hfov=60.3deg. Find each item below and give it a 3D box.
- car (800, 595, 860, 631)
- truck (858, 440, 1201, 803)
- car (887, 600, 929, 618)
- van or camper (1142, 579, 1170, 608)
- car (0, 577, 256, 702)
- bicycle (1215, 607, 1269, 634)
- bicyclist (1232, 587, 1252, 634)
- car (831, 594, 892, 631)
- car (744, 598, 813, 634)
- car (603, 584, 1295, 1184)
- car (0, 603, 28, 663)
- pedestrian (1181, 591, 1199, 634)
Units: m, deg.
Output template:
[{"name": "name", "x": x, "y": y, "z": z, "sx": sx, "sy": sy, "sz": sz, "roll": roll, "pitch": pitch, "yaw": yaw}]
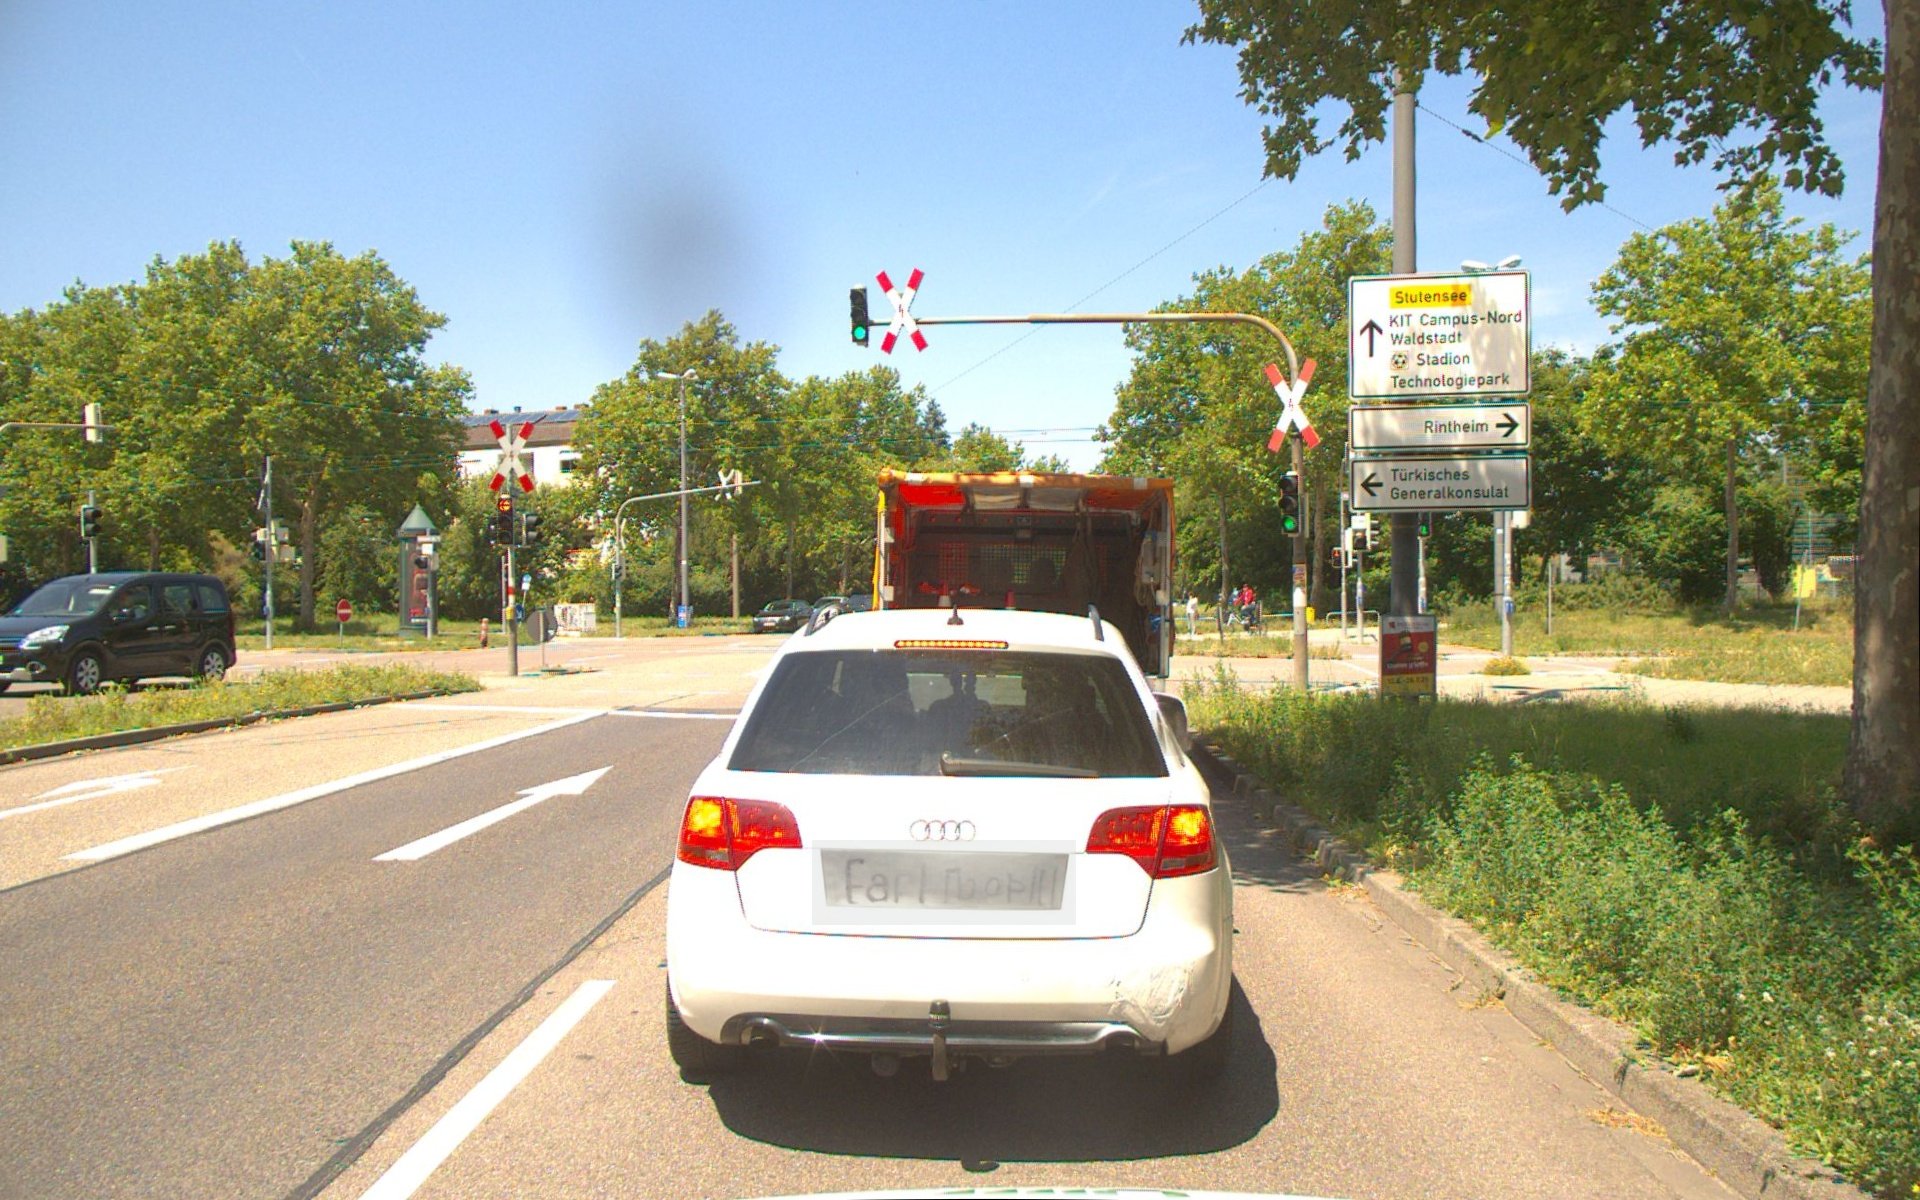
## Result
[{"name": "car", "x": -6.318, "y": 0.612, "z": 80.684, "sx": 1.749, "sy": 1.643, "sz": 4.408, "roll": -1, "pitch": 0, "yaw": 11}, {"name": "truck", "x": 0.661, "y": 0.165, "z": 15.862, "sx": 2.459, "sy": 2.604, "sz": 7.605, "roll": 1, "pitch": 0, "yaw": 2}, {"name": "car", "x": -4.364, "y": 0.742, "z": 139.051, "sx": 1.844, "sy": 1.417, "sz": 3.997, "roll": 0, "pitch": 0, "yaw": 26}, {"name": "van or camper", "x": 23.713, "y": -0.769, "z": 199.896, "sx": 2.604, "sy": 3.389, "sz": 5.505, "roll": 0, "pitch": 0, "yaw": 14}, {"name": "car", "x": -12.988, "y": 0.536, "z": 25.002, "sx": 1.871, "sy": 1.708, "sz": 4.446, "roll": -1, "pitch": 0, "yaw": 17}, {"name": "bicycle", "x": 9.531, "y": 0.702, "z": 55.949, "sx": 1.767, "sy": 0.911, "sz": 0.589, "roll": 0, "pitch": 0, "yaw": 7}, {"name": "bicyclist", "x": 9.541, "y": 0.340, "z": 55.950, "sx": 0.657, "sy": 1.584, "sz": 0.580, "roll": 0, "pitch": -1, "yaw": 7}, {"name": "car", "x": -4.379, "y": 0.529, "z": 74.053, "sx": 1.868, "sy": 1.566, "sz": 4.302, "roll": -1, "pitch": 0, "yaw": 8}, {"name": "car", "x": -8.013, "y": 0.693, "z": 73.439, "sx": 1.907, "sy": 1.465, "sz": 4.750, "roll": 0, "pitch": 1, "yaw": 9}, {"name": "car", "x": 0.069, "y": 0.694, "z": 5.945, "sx": 1.725, "sy": 1.470, "sz": 3.617, "roll": 0, "pitch": 0, "yaw": 3}, {"name": "car", "x": -25.529, "y": 0.834, "z": 41.817, "sx": 3.907, "sy": 1.483, "sz": 1.760, "roll": 0, "pitch": 0, "yaw": 32}, {"name": "pedestrian", "x": 8.113, "y": 0.423, "z": 58.399, "sx": 0.541, "sy": 1.510, "sz": 0.630, "roll": -1, "pitch": 0, "yaw": 16}]
